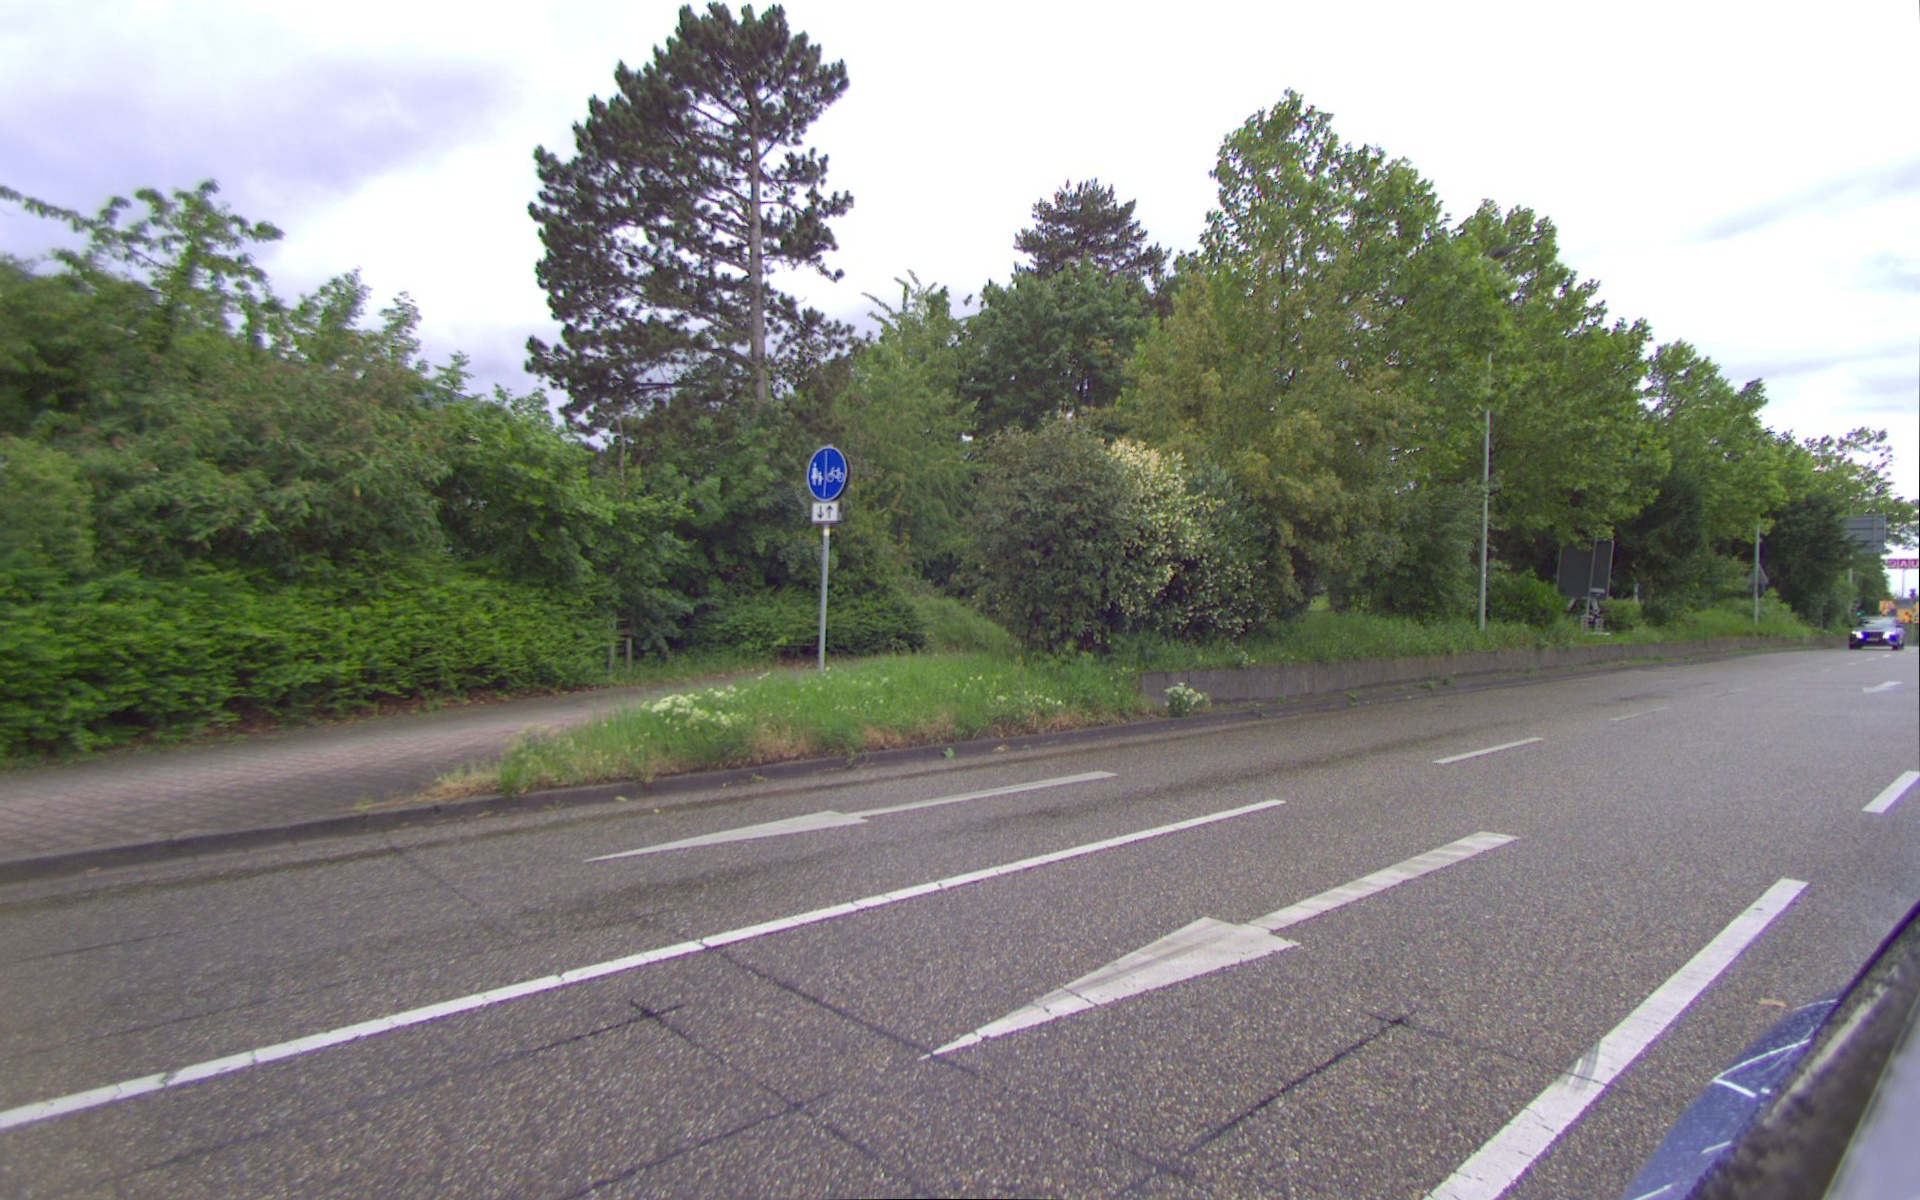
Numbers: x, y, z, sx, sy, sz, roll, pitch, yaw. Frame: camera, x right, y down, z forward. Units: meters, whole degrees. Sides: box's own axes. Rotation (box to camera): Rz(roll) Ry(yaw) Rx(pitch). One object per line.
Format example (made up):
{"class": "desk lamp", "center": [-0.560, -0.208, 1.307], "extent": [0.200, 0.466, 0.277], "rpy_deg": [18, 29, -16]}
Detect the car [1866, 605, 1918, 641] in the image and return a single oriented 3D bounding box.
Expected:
{"class": "car", "center": [46.211, 1.087, 50.149], "extent": [3.778, 1.642, 1.702], "rpy_deg": [-1, 1, -44]}
